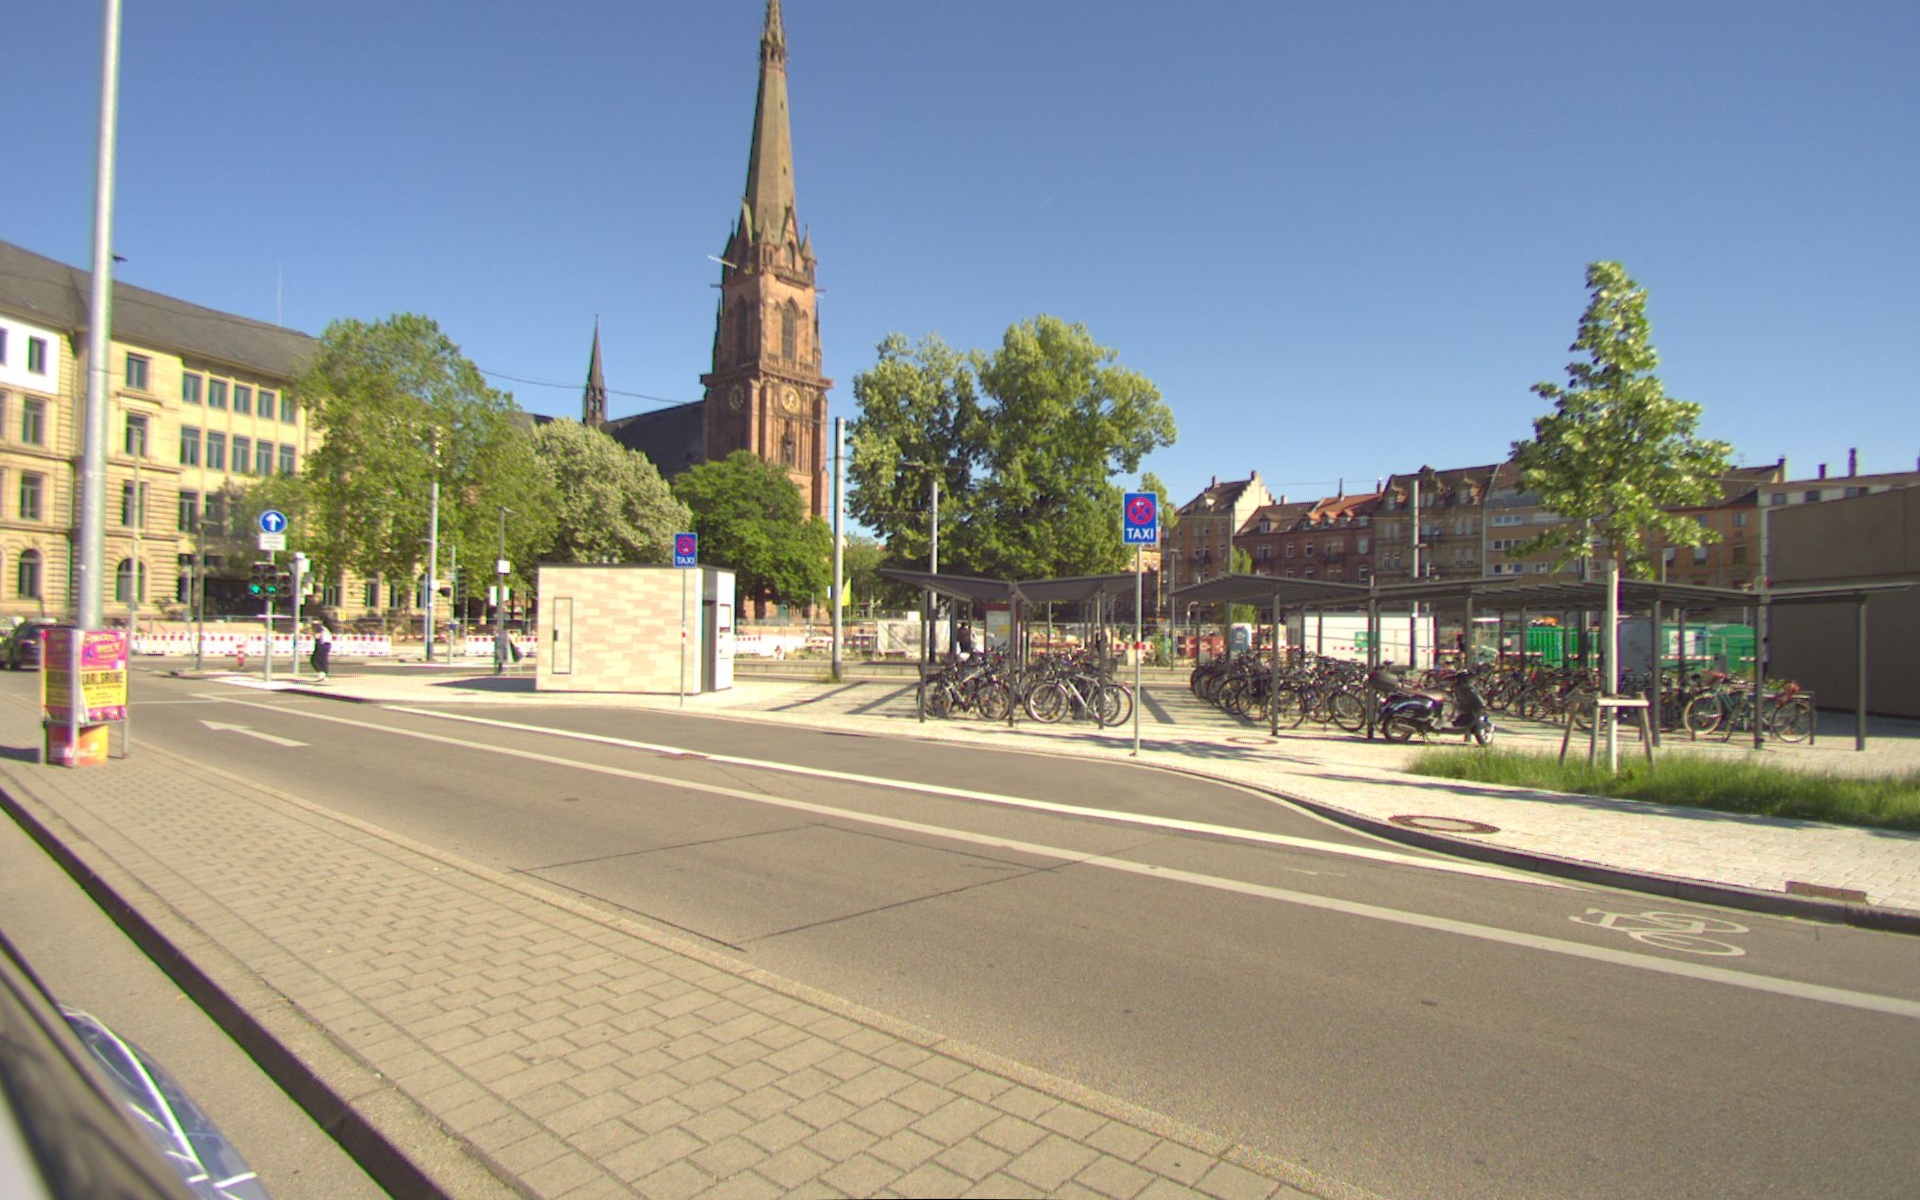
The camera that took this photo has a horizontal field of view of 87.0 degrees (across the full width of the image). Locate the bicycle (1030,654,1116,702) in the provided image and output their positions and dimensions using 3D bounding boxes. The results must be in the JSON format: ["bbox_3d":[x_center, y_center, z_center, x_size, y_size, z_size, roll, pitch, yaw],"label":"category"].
[{"bbox_3d":[2.512,1.723,22.534,1.882,1.016,0.456,0,-2,8],"label":"bicycle"}]

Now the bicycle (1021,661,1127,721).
[{"bbox_3d":[2.056,1.630,18.261,1.882,1.016,0.456,0,-2,8],"label":"bicycle"}]

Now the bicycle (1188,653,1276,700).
[{"bbox_3d":[6.150,1.735,22.943,1.882,1.016,0.456,0,-2,8],"label":"bicycle"}]

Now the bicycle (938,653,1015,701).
[{"bbox_3d":[0.373,1.687,22.224,1.652,1.016,0.456,0,-2,8],"label":"bicycle"}]

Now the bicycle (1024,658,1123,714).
[{"bbox_3d":[2.198,1.656,19.585,1.882,1.016,0.456,0,-2,8],"label":"bicycle"}]

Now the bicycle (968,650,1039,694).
[{"bbox_3d":[1.044,1.712,24.226,1.652,1.016,0.456,0,-2,8],"label":"bicycle"}]

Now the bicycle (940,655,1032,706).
[{"bbox_3d":[0.545,1.672,21.226,1.882,1.016,0.456,0,-2,8],"label":"bicycle"}]

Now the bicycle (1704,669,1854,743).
[{"bbox_3d":[13.083,1.682,16.205,1.882,1.106,0.456,0,-2,8],"label":"bicycle"}]

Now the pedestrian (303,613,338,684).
[{"bbox_3d":[-17.026,1.286,26.924,0.683,1.868,0.680,2,-2,-38],"label":"pedestrian"}]

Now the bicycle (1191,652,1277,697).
[{"bbox_3d":[6.367,1.728,23.567,1.882,1.016,0.456,0,-2,8],"label":"bicycle"}]

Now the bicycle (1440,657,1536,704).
[{"bbox_3d":[12.080,1.833,23.193,1.882,1.016,0.456,0,-2,8],"label":"bicycle"}]

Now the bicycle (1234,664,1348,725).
[{"bbox_3d":[5.901,1.680,18.092,1.882,1.016,0.456,0,-2,8],"label":"bicycle"}]

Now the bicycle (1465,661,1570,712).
[{"bbox_3d":[11.715,1.811,21.312,1.882,1.016,0.456,0,-2,8],"label":"bicycle"}]

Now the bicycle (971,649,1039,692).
[{"bbox_3d":[1.108,1.726,24.942,1.652,1.016,0.456,0,-2,8],"label":"bicycle"}]

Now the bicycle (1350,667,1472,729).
[{"bbox_3d":[7.896,1.706,17.762,1.882,1.016,0.456,0,-2,8],"label":"bicycle"}]

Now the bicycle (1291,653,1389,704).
[{"bbox_3d":[8.058,1.657,21.519,1.882,1.016,0.456,0,-2,8],"label":"bicycle"}]

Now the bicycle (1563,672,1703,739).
[{"bbox_3d":[10.974,1.714,16.536,1.882,1.016,0.456,0,-2,8],"label":"bicycle"}]

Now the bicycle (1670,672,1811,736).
[{"bbox_3d":[13.130,1.740,17.065,1.882,1.016,0.456,0,-2,8],"label":"bicycle"}]

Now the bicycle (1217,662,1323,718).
[{"bbox_3d":[5.899,1.705,19.323,1.882,1.016,0.456,0,-2,8],"label":"bicycle"}]

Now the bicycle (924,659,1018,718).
[{"bbox_3d":[0.202,1.582,18.191,1.652,1.016,0.456,0,-2,8],"label":"bicycle"}]

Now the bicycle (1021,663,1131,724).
[{"bbox_3d":[2.020,1.621,17.674,1.882,1.016,0.456,0,-2,8],"label":"bicycle"}]

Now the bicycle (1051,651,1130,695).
[{"bbox_3d":[3.164,1.773,24.599,1.882,1.016,0.456,0,-2,8],"label":"bicycle"}]

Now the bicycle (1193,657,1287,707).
[{"bbox_3d":[5.967,1.744,21.609,1.882,1.016,0.456,0,-2,8],"label":"bicycle"}]

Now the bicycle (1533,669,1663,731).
[{"bbox_3d":[11.102,1.729,17.641,1.882,1.016,0.456,0,-2,8],"label":"bicycle"}]

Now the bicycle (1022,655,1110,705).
[{"bbox_3d":[2.298,1.719,21.920,1.882,1.016,0.456,0,-2,8],"label":"bicycle"}]

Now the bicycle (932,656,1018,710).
[{"bbox_3d":[0.306,1.622,19.888,1.652,1.016,0.456,0,-2,8],"label":"bicycle"}]

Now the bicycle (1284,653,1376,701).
[{"bbox_3d":[8.317,1.732,22.817,1.882,1.016,0.456,0,-2,8],"label":"bicycle"}]

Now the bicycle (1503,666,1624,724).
[{"bbox_3d":[11.165,1.753,18.757,1.882,1.016,0.456,0,-2,8],"label":"bicycle"}]

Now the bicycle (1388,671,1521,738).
[{"bbox_3d":[8.029,1.688,16.493,1.882,1.016,0.456,0,-2,8],"label":"bicycle"}]

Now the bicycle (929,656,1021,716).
[{"bbox_3d":[0.281,1.587,18.776,1.652,1.069,0.456,0,-2,8],"label":"bicycle"}]

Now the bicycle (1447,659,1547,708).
[{"bbox_3d":[11.785,1.821,22.243,1.882,1.016,0.456,0,-2,8],"label":"bicycle"}]

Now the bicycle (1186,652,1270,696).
[{"bbox_3d":[6.395,1.759,24.225,1.882,1.016,0.456,0,-2,8],"label":"bicycle"}]

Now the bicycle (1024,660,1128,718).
[{"bbox_3d":[2.138,1.642,18.743,1.882,1.016,0.456,0,-2,8],"label":"bicycle"}]

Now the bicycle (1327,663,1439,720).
[{"bbox_3d":[7.919,1.709,18.995,1.882,1.016,0.456,0,-2,8],"label":"bicycle"}]

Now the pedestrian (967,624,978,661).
[{"bbox_3d":[0.589,1.990,47.616,0.399,1.734,0.419,1,-2,-11],"label":"pedestrian"}]

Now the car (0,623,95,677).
[{"bbox_3d":[-28.030,1.500,30.820,4.571,1.511,1.771,-1,-3,40],"label":"car"}]

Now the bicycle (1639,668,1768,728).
[{"bbox_3d":[13.470,1.773,18.363,1.882,1.016,0.456,0,-2,8],"label":"bicycle"}]

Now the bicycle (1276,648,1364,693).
[{"bbox_3d":[8.488,1.649,23.910,1.882,1.016,0.456,0,-2,8],"label":"bicycle"}]

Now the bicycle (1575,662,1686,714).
[{"bbox_3d":[13.875,1.815,20.970,1.882,1.016,0.456,0,-2,8],"label":"bicycle"}]

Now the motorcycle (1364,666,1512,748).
[{"bbox_3d":[7.162,1.599,15.225,1.924,1.160,0.516,0,-2,6],"label":"motorcycle"}]

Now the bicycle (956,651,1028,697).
[{"bbox_3d":[0.748,1.707,23.482,1.652,1.016,0.456,0,-2,8],"label":"bicycle"}]

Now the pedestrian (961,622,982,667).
[{"bbox_3d":[0.480,1.811,41.558,0.792,1.793,0.977,0,-2,3],"label":"pedestrian"}]

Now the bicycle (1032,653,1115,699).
[{"bbox_3d":[2.607,1.745,23.304,1.882,1.016,0.456,0,-2,8],"label":"bicycle"}]

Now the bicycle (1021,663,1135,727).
[{"bbox_3d":[1.991,1.599,17.114,1.882,1.016,0.456,0,-2,8],"label":"bicycle"}]

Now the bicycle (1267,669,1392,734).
[{"bbox_3d":[6.122,1.679,16.839,1.882,1.016,0.456,0,-2,8],"label":"bicycle"}]

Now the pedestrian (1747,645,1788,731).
[{"bbox_3d":[19.720,2.127,24.714,0.718,2.029,0.678,-1,-3,41],"label":"pedestrian"}]
